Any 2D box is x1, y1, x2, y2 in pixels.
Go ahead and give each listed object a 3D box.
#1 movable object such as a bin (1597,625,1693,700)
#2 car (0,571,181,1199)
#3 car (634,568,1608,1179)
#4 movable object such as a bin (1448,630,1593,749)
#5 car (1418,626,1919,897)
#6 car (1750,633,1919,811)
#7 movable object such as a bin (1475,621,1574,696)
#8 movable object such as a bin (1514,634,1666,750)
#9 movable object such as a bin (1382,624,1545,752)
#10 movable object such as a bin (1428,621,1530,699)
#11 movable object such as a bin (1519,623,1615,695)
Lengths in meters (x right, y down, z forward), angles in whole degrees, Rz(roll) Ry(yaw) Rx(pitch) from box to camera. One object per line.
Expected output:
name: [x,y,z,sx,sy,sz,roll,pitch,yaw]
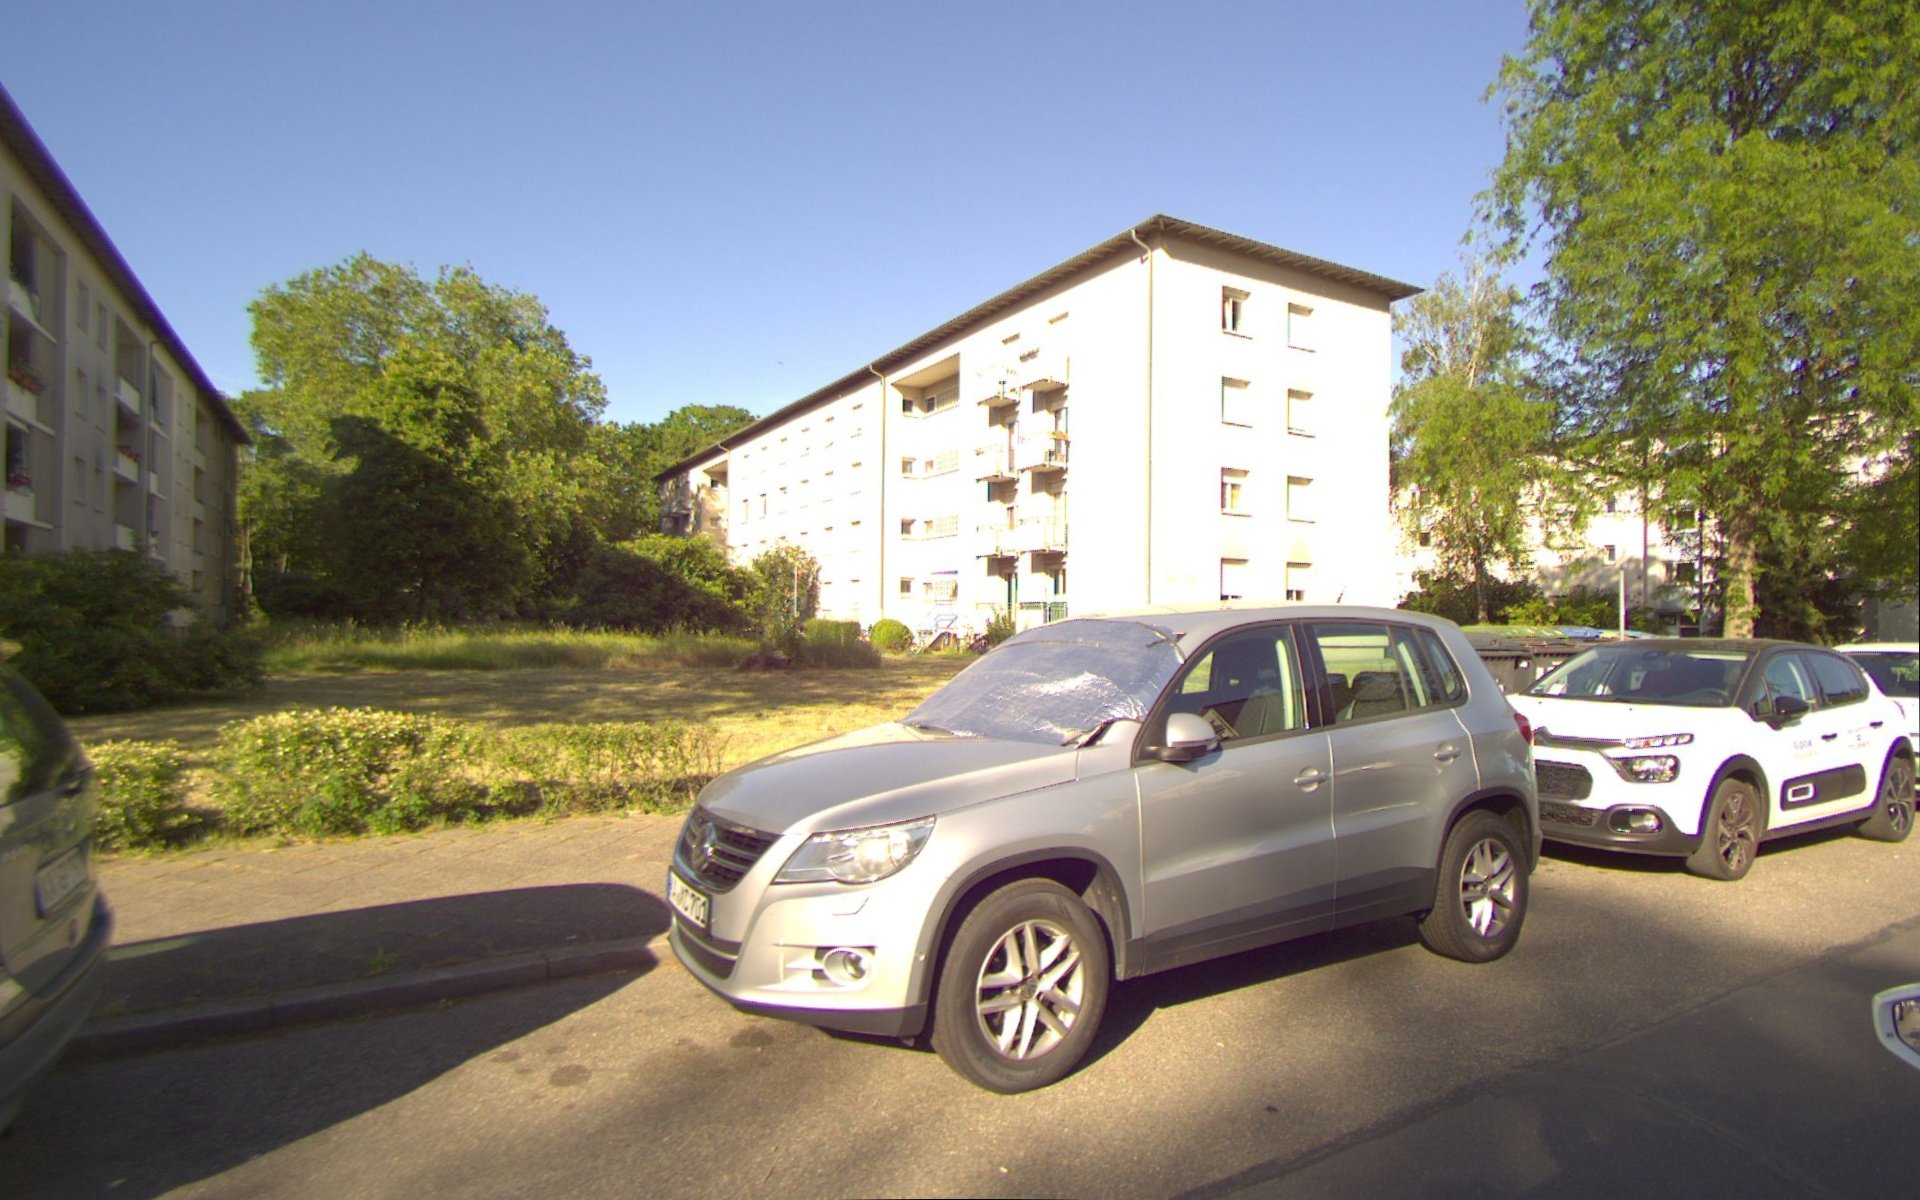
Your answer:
movable object such as a bin: [14.215,1.263,20.861,1.344,1.440,1.129,1,1,-29]
car: [-3.913,0.740,2.025,3.496,1.627,1.627,1,-2,-32]
car: [0.896,0.819,4.692,4.299,1.661,1.894,1,-2,-31]
movable object such as a bin: [7.243,1.117,13.006,1.228,1.376,1.131,1,1,-29]
car: [5.359,0.982,7.421,3.899,1.533,1.655,1,-2,-30]
car: [9.440,1.102,10.001,3.505,1.533,1.650,2,-3,-37]
movable object such as a bin: [11.772,1.203,20.955,1.444,1.440,1.172,1,1,-29]
movable object such as a bin: [8.271,1.162,13.207,1.327,1.358,1.172,1,1,-29]
movable object such as a bin: [6.129,1.029,12.253,1.424,1.401,1.131,1,1,-29]
movable object such as a bin: [10.399,1.182,20.128,1.444,1.440,1.172,1,1,-29]
movable object such as a bin: [13.087,1.245,21.680,1.444,1.440,1.172,1,1,-29]
